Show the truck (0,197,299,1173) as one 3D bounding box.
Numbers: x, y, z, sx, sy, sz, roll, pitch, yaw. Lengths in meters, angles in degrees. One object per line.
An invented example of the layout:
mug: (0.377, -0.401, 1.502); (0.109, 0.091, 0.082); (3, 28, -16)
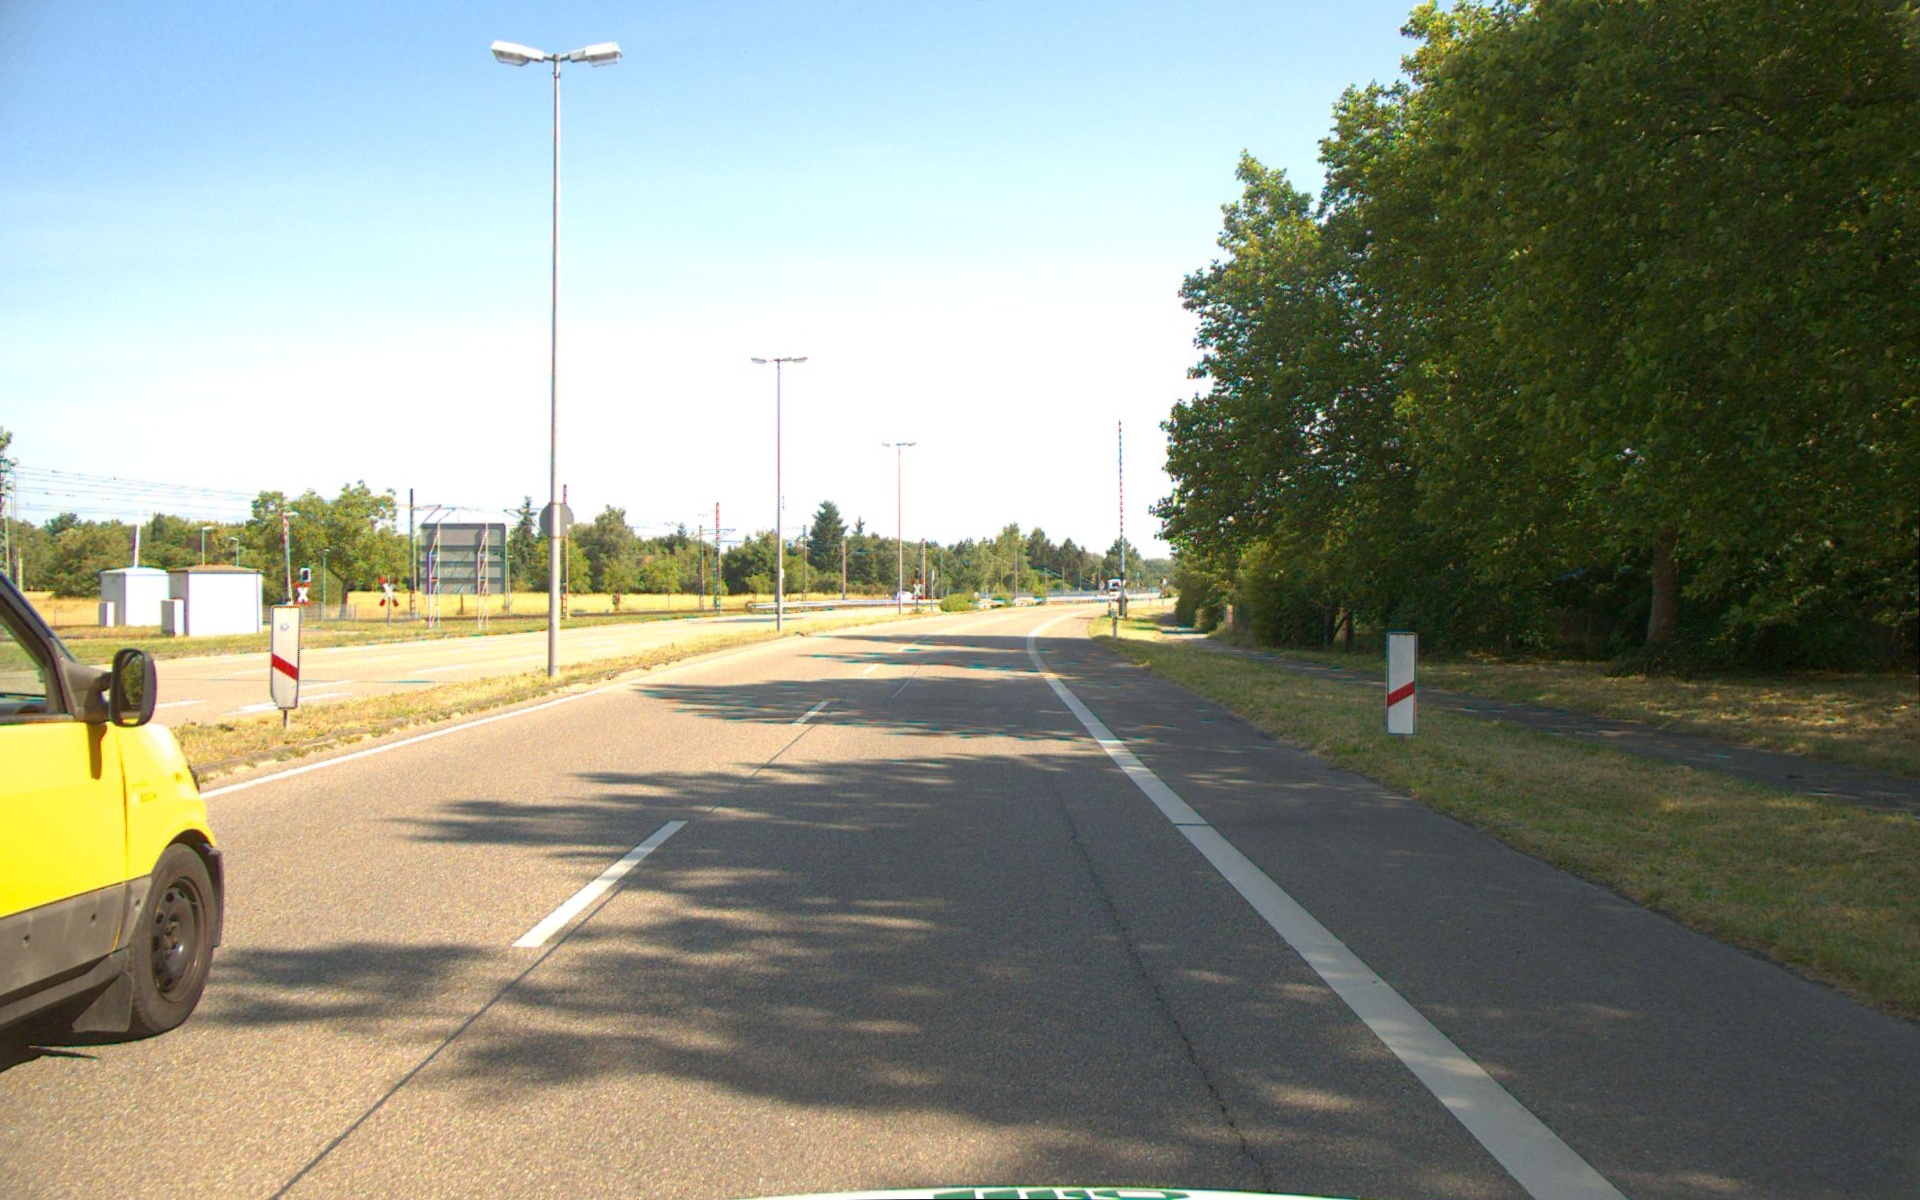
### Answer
truck: (-3.462, 0.218, 3.291); (2.069, 2.500, 5.915); (0, 0, -2)
